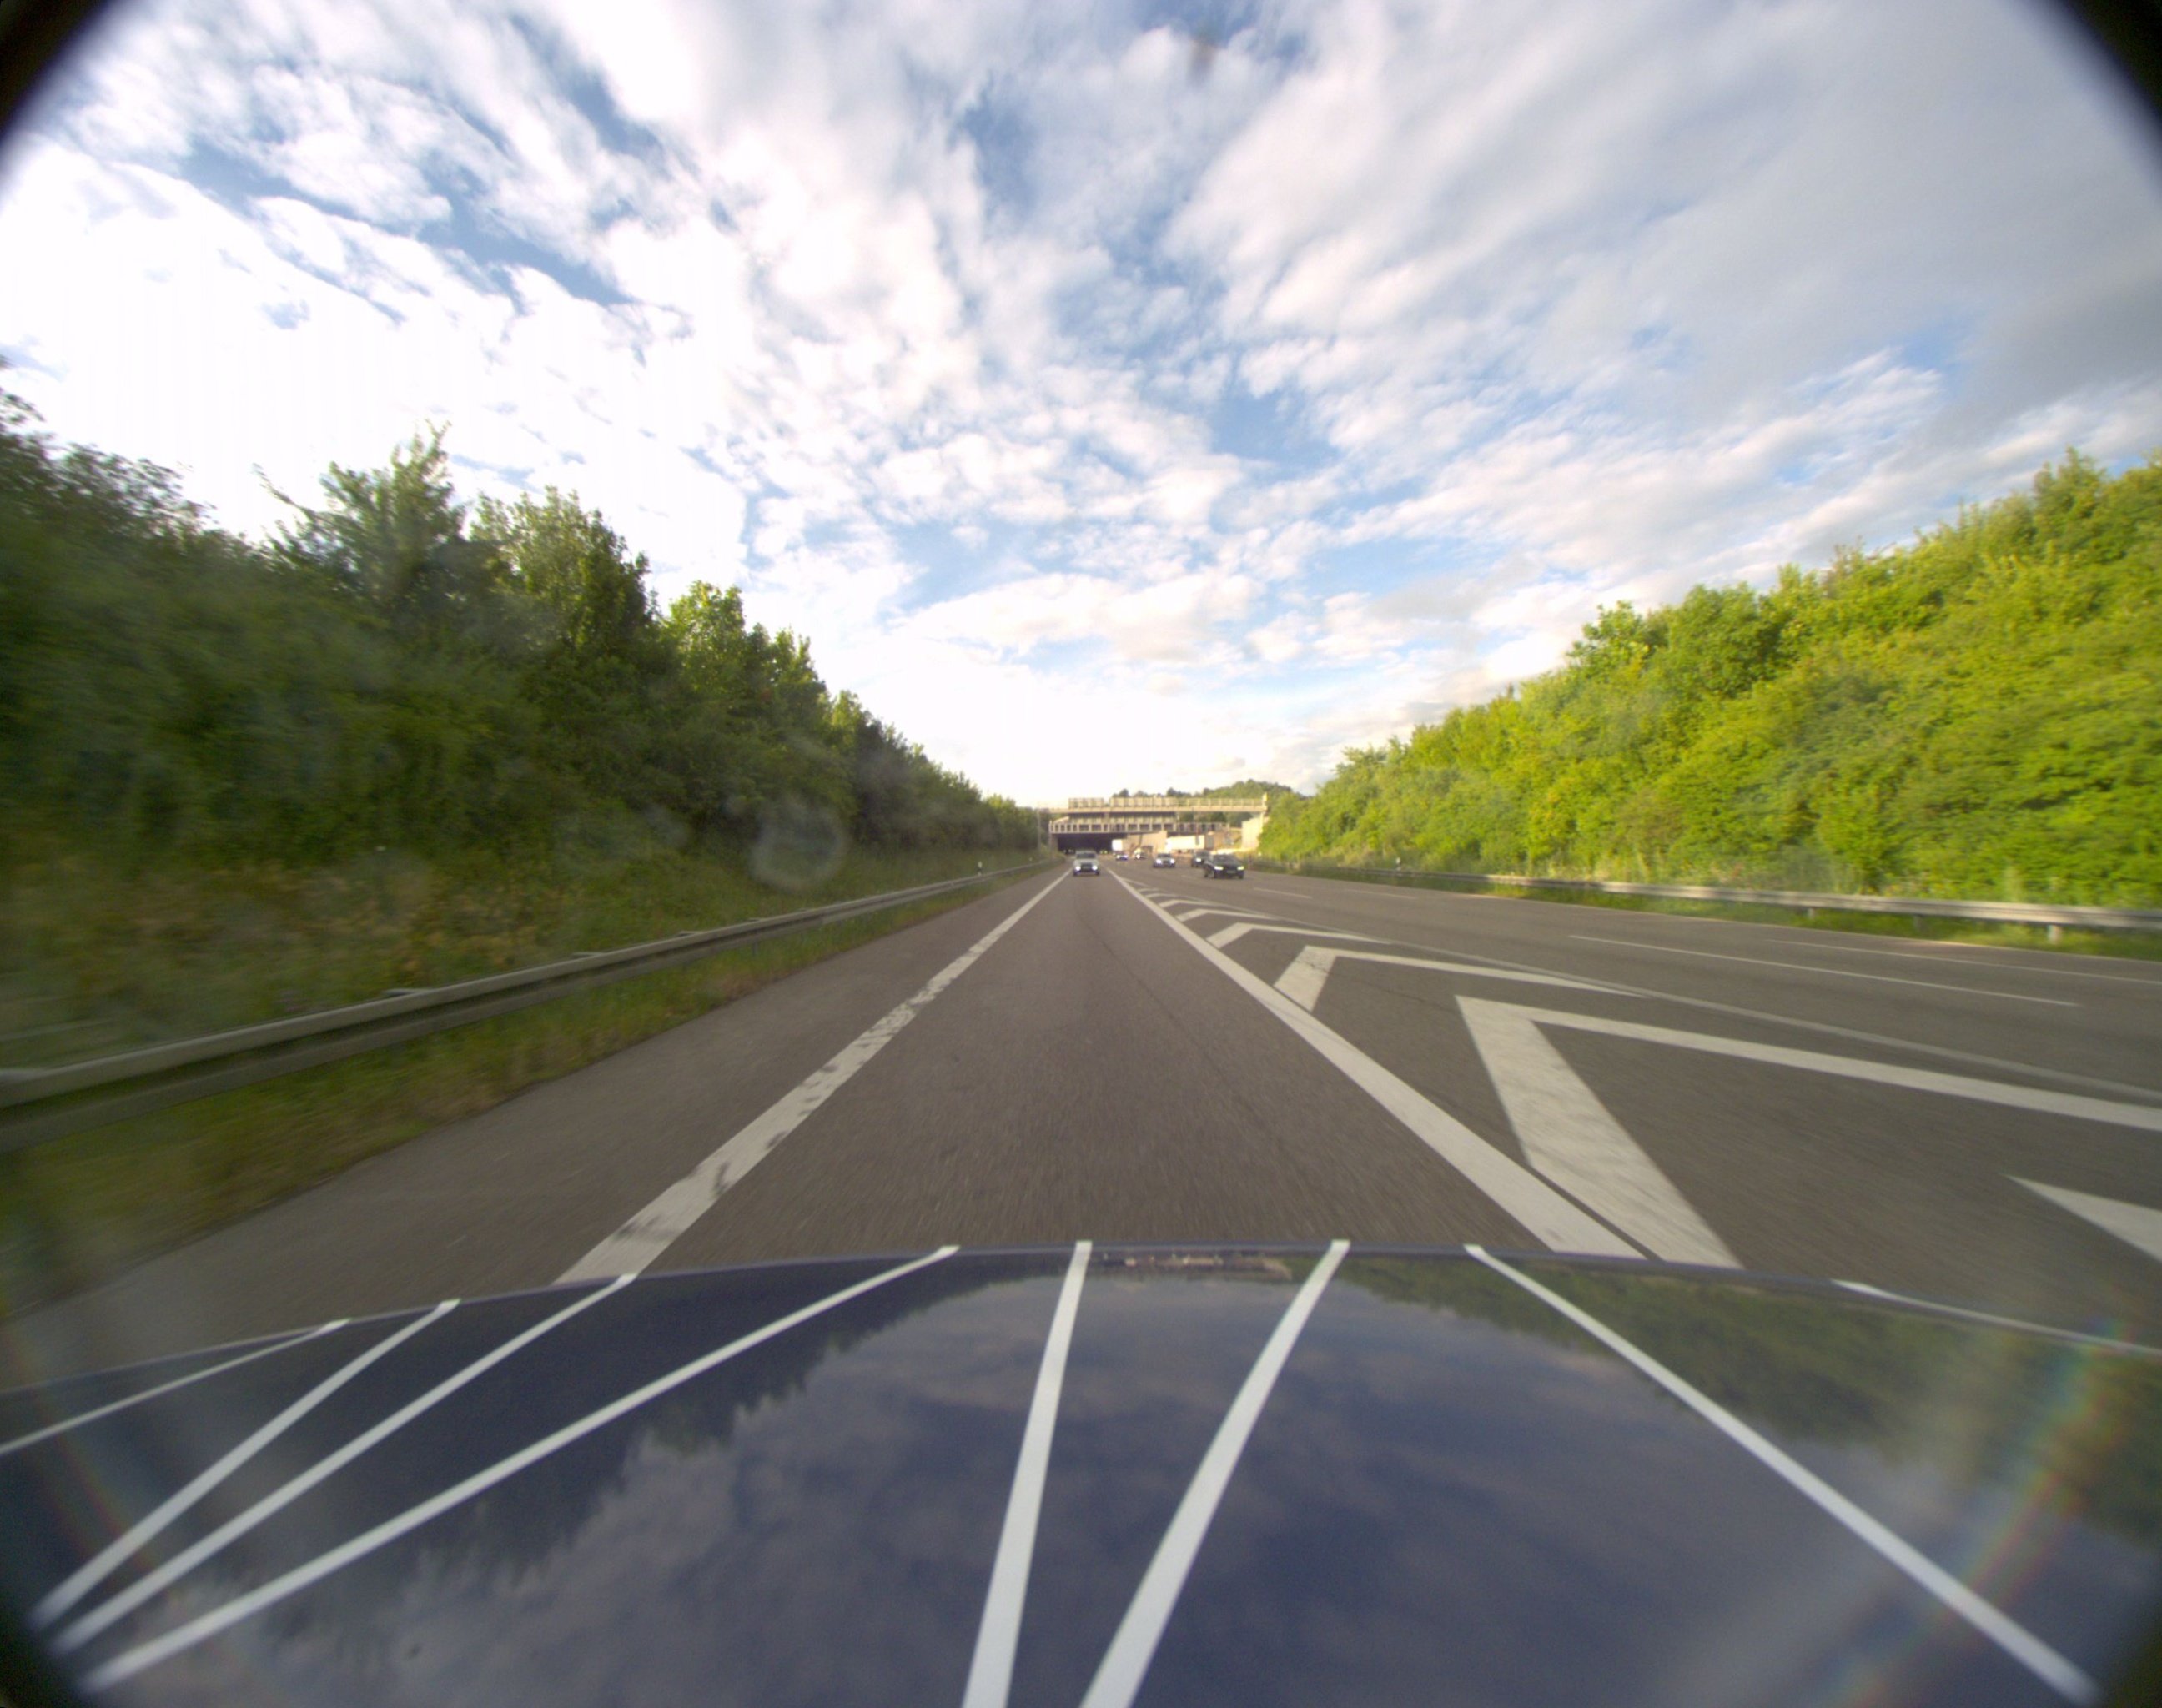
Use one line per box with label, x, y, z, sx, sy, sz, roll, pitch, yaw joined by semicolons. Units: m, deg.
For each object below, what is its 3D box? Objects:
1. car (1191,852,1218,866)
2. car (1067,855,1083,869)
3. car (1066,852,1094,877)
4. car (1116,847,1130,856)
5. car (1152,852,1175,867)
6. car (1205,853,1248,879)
car;11.779;0.466;72.706;1.880;1.284;4.000;-1;0;1
car;-0.654;0.893;87.516;1.619;1.451;3.663;-2;0;2
car;-0.082;0.712;54.682;1.905;1.655;4.000;-1;1;0
car;7.609;-0.454;137.332;1.999;1.472;4.944;-1;1;-4
car;7.891;0.500;72.914;1.797;1.284;4.000;-1;1;1
car;8.301;0.650;43.704;1.762;1.398;4.000;-1;1;1
